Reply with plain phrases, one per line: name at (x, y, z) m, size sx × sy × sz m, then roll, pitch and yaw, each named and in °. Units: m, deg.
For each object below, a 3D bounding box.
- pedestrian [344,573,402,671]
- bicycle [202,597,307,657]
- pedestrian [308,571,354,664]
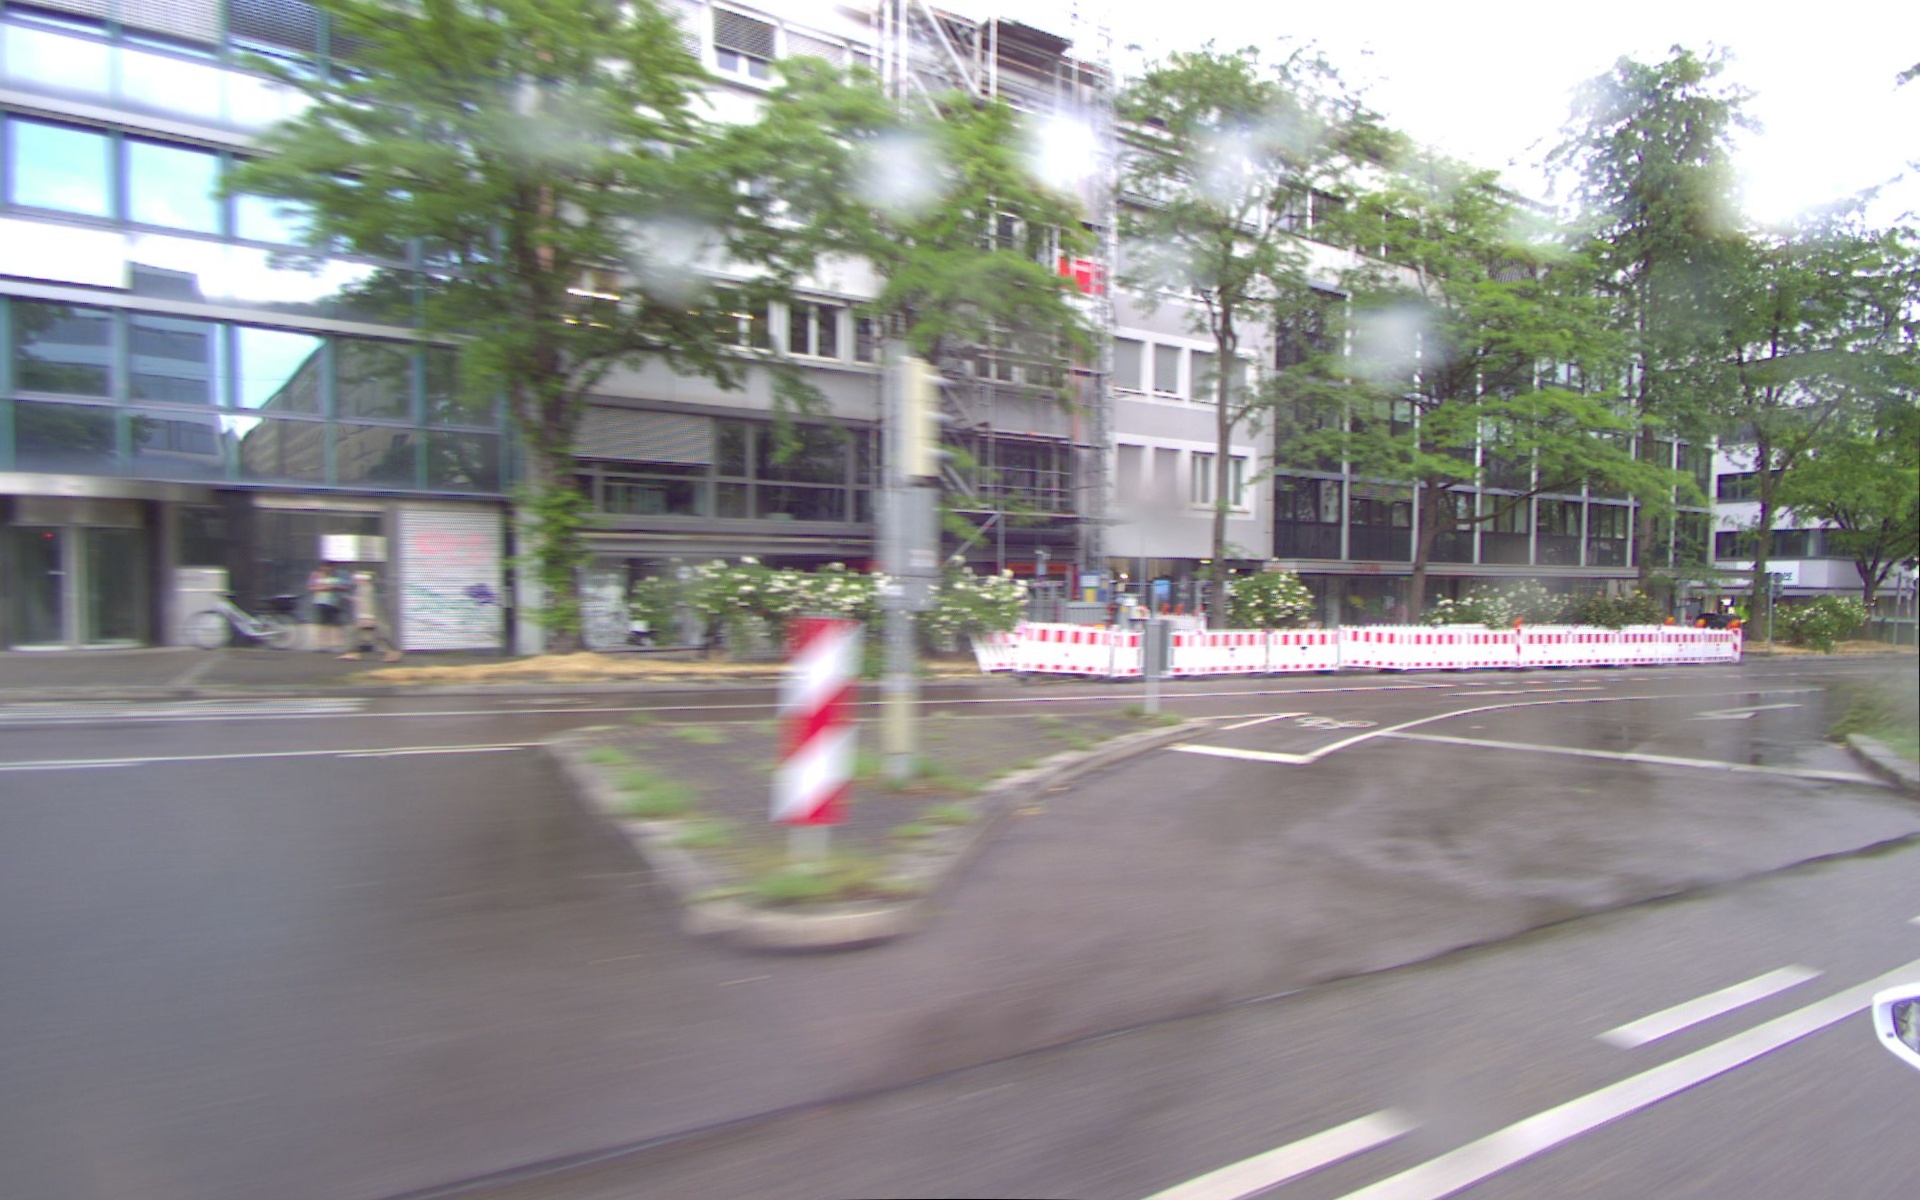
pedestrian at (-10.888, 0.397, 18.634) m, size 0.867 × 1.765 × 0.689 m, roll 2°, pitch 1°, yaw -32°
bicycle at (-13.278, 0.516, 18.956) m, size 1.544 × 1.100 × 0.444 m, roll 1°, pitch 0°, yaw -27°
pedestrian at (-12.198, 0.336, 19.467) m, size 0.688 × 1.765 × 0.691 m, roll 2°, pitch 1°, yaw -35°
